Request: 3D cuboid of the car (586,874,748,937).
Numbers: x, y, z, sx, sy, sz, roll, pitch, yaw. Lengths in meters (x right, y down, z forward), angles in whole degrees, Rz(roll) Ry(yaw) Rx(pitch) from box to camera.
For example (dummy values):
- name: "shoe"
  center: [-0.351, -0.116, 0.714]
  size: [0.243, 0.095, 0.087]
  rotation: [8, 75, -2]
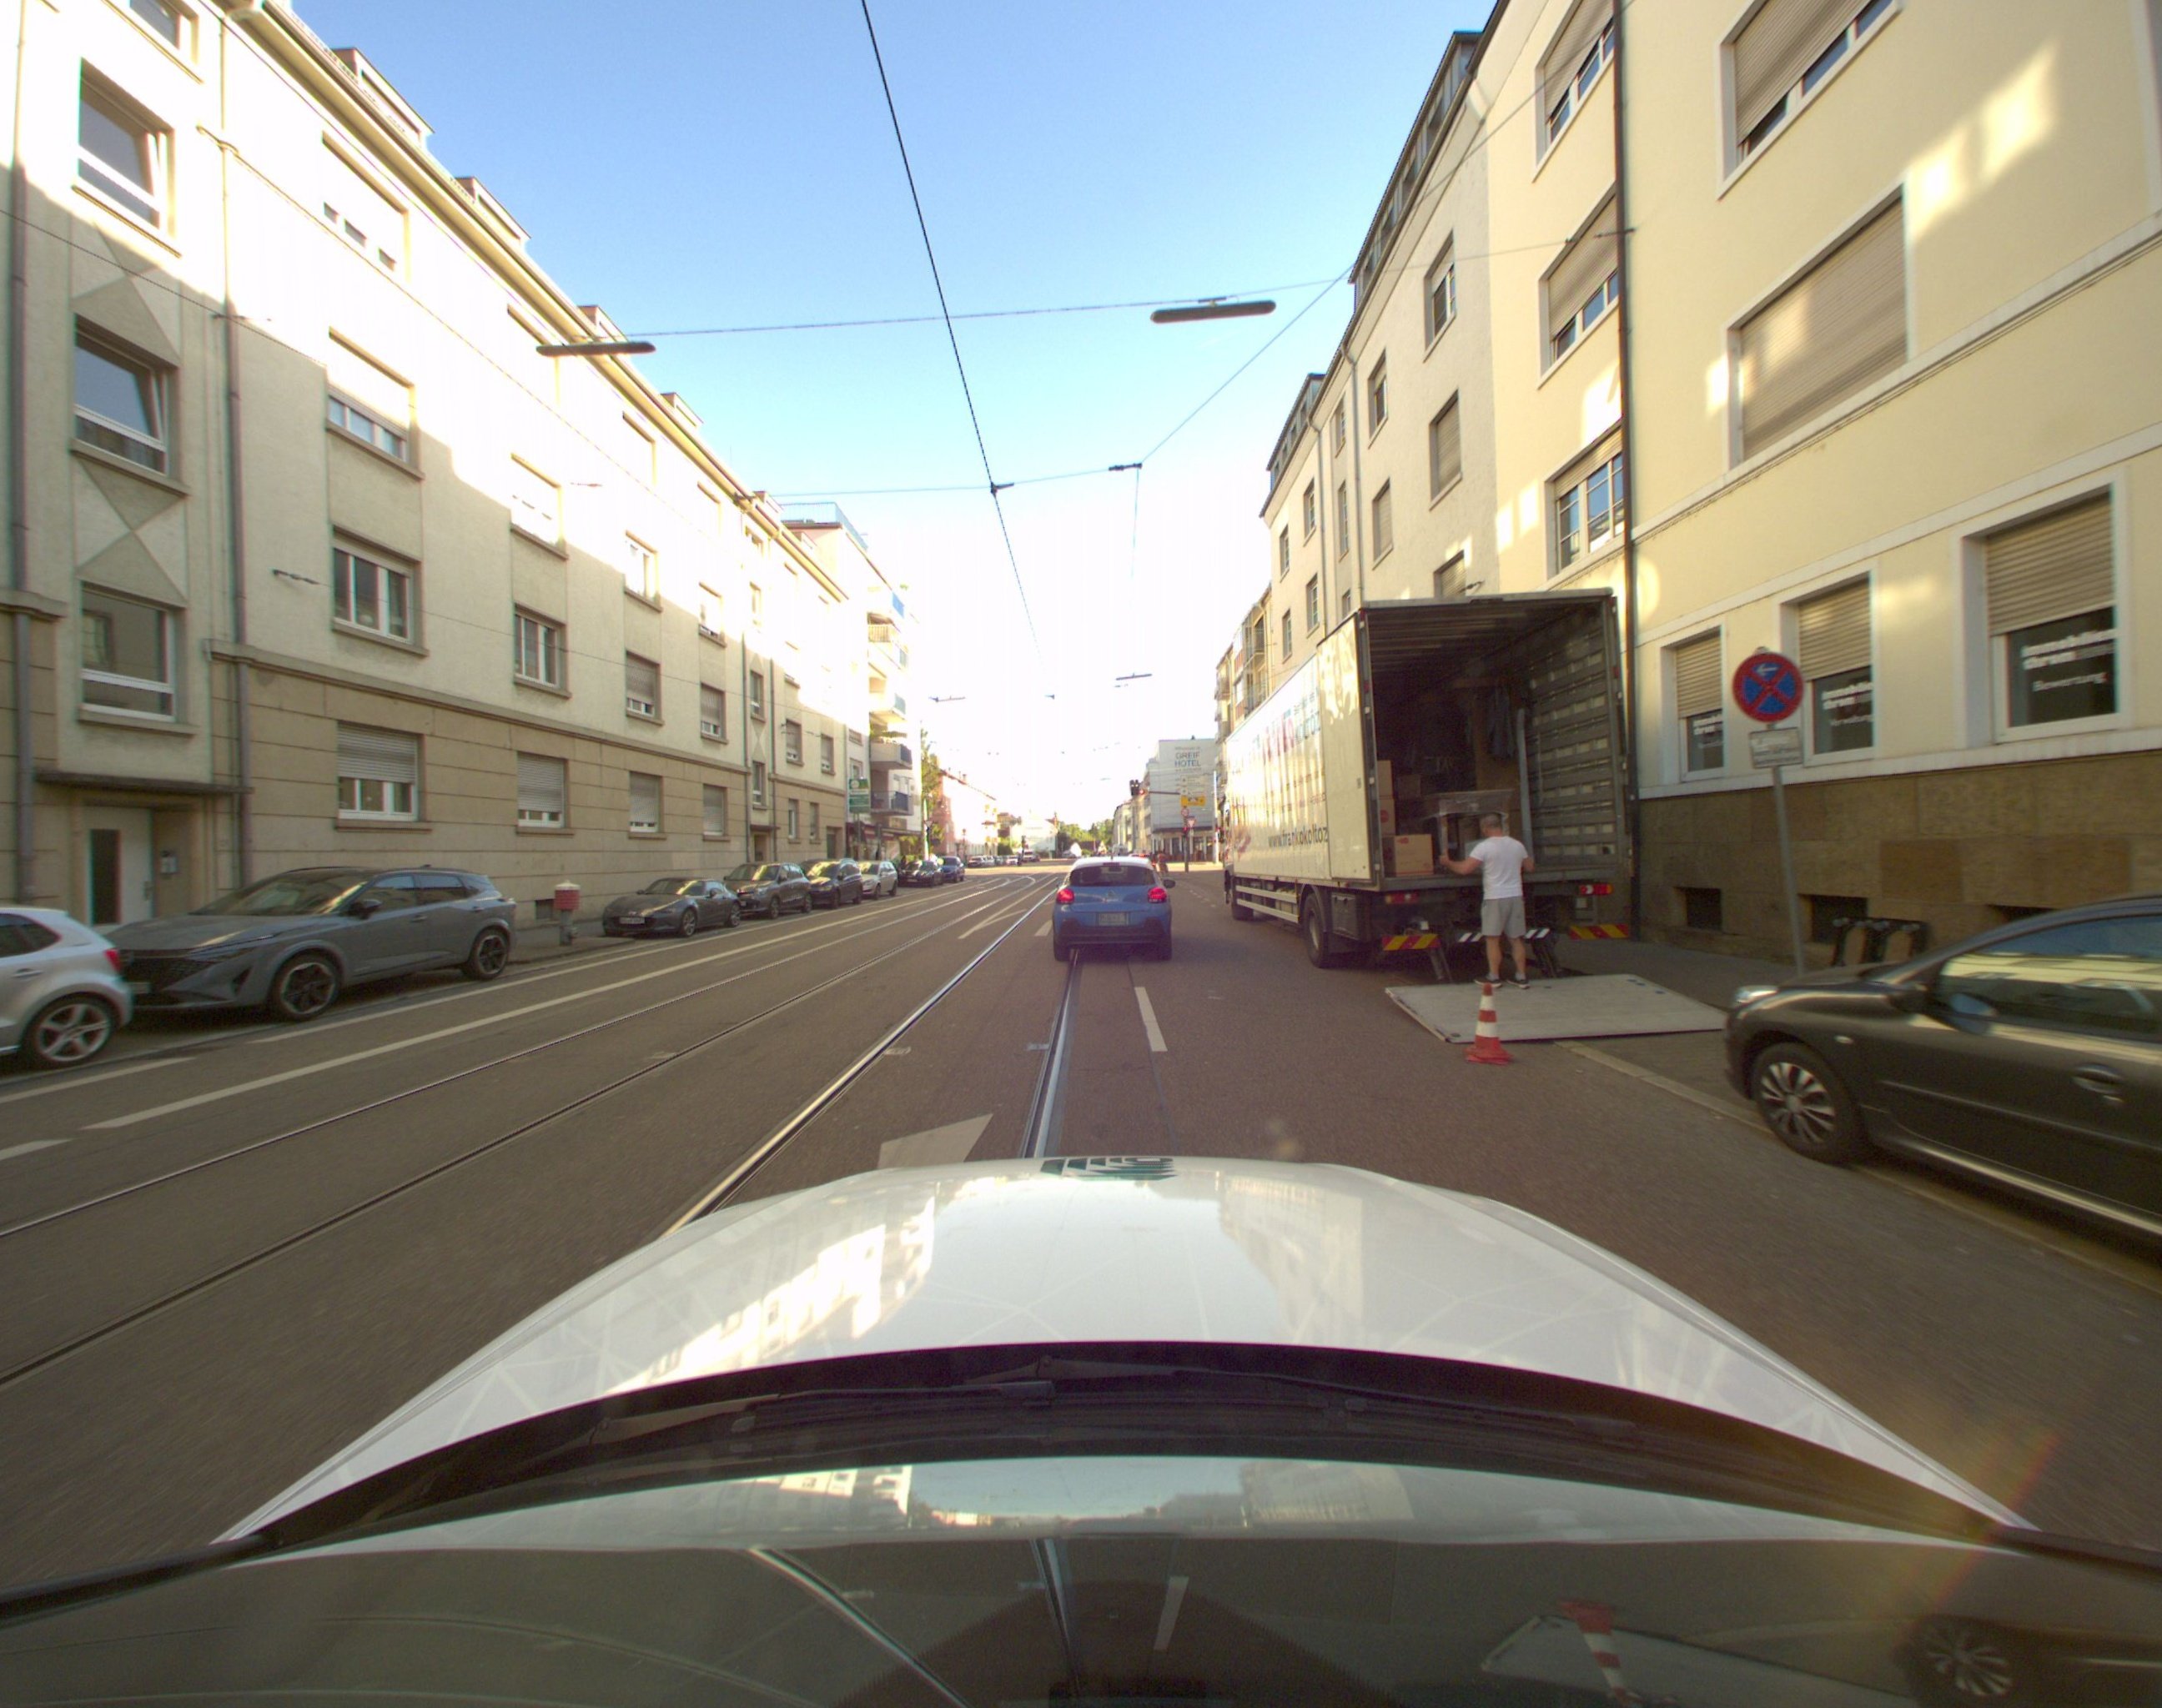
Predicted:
- name: "car"
  center: [-9.175, 1.097, 18.407]
  size: [1.694, 1.216, 3.785]
  rotation: [0, -1, 0]

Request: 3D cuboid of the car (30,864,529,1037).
- name: "car"
  center: [-9.256, 0.968, 10.087]
  size: [1.693, 1.568, 4.407]
  rotation: [-2, 0, 2]

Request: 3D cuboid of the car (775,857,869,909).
- name: "car"
  center: [-8.669, 0.943, 27.662]
  size: [1.693, 1.615, 4.245]
  rotation: [0, -1, 2]

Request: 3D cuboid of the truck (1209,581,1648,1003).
- name: "truck"
  center: [4.344, -0.616, 13.914]
  size: [2.848, 4.073, 11.786]
  rotation: [-2, 0, 3]

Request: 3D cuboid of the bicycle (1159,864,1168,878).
- name: "bicycle"
  center: [5.437, 1.109, 53.586]
  size: [0.497, 0.864, 1.750]
  rotation: [-1, 0, 2]

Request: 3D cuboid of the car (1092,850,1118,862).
- name: "car"
  center: [3.784, 0.308, 127.889]
  size: [3.971, 1.640, 1.816]
  rotation: [-1, 0, 2]

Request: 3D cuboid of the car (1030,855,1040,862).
- name: "car"
  center: [-10.130, 0.900, 179.120]
  size: [2.014, 1.525, 4.000]
  rotation: [-1, 0, 0]

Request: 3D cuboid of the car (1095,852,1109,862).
- name: "car"
  center: [3.222, 0.448, 124.247]
  size: [1.986, 1.508, 4.001]
  rotation: [-1, 0, 1]

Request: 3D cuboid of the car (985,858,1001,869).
- name: "car"
  center: [-13.035, 1.357, 120.538]
  size: [1.905, 1.497, 4.000]
  rotation: [-1, 0, 0]

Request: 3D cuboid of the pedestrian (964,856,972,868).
- name: "pedestrian"
  center: [-15.350, 1.081, 110.569]
  size: [0.839, 1.690, 0.739]
  rotation: [-1, 0, 7]

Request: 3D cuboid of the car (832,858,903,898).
- name: "car"
  center: [-8.690, 0.958, 33.468]
  size: [1.693, 1.509, 4.386]
  rotation: [0, -1, 1]

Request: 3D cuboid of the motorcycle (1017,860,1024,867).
- name: "motorcycle"
  center: [-7.535, 1.183, 101.417]
  size: [0.613, 0.864, 1.673]
  rotation: [-1, 0, 4]

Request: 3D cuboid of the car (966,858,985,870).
- name: "car"
  center: [-13.397, 1.261, 103.370]
  size: [1.905, 1.433, 3.998]
  rotation: [-1, 0, -1]

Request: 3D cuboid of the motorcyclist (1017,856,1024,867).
- name: "motorcyclist"
  center: [-7.542, 0.896, 101.264]
  size: [0.715, 1.378, 0.912]
  rotation: [-1, 0, 4]

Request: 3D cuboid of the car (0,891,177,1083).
- name: "car"
  center: [-9.384, 1.059, 5.613]
  size: [1.693, 1.416, 4.001]
  rotation: [2, -1, 2]

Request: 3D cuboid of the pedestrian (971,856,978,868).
- name: "pedestrian"
  center: [-14.468, 1.079, 110.618]
  size: [0.839, 1.690, 0.739]
  rotation: [-1, 0, 7]

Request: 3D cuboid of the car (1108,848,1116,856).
- name: "car"
  center: [6.229, -0.370, 164.940]
  size: [1.682, 1.618, 4.002]
  rotation: [0, 0, 2]

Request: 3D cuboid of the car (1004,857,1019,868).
- name: "car"
  center: [-10.388, 1.239, 121.987]
  size: [1.843, 1.574, 4.401]
  rotation: [-1, 0, 0]

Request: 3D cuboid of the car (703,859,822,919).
- name: "car"
  center: [-9.018, 0.942, 23.427]
  size: [1.693, 1.569, 4.001]
  rotation: [0, -1, 2]

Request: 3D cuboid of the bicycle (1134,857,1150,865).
- name: "bicycle"
  center: [7.514, 0.867, 100.165]
  size: [1.864, 0.957, 0.703]
  rotation: [-1, 0, 5]

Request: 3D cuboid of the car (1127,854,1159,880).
- name: "car"
  center: [3.551, 0.731, 46.770]
  size: [1.730, 1.420, 4.005]
  rotation: [-1, 0, 4]

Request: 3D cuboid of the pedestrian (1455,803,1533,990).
- name: "pedestrian"
  center: [4.031, 0.406, 7.968]
  size: [0.511, 1.775, 0.416]
  rotation: [-2, 0, 1]

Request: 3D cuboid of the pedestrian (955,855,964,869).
- name: "pedestrian"
  center: [-15.469, 1.001, 103.769]
  size: [0.839, 1.690, 0.739]
  rotation: [-1, 0, 7]

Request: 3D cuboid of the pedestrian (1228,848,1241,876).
- name: "pedestrian"
  center: [8.501, 0.452, 45.049]
  size: [0.539, 1.507, 0.611]
  rotation: [-3, 1, 2]

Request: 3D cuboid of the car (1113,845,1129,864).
- name: "car"
  center: [5.164, 0.065, 105.739]
  size: [1.986, 2.325, 4.001]
  rotation: [0, 0, 1]

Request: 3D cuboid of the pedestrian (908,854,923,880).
- name: "pedestrian"
  center: [-9.972, 0.786, 49.023]
  size: [0.694, 1.548, 0.722]
  rotation: [-1, 0, 4]

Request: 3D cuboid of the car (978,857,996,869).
- name: "car"
  center: [-13.104, 1.261, 113.737]
  size: [1.905, 1.497, 4.000]
  rotation: [-1, 0, 0]

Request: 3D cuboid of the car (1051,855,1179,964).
- name: "car"
  center: [0.419, 0.757, 13.060]
  size: [1.739, 1.462, 3.997]
  rotation: [0, 0, -2]

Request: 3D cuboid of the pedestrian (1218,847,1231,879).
- name: "pedestrian"
  center: [7.629, 0.475, 43.379]
  size: [0.539, 1.672, 0.624]
  rotation: [-3, 1, 2]

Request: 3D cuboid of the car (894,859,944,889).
- name: "car"
  center: [-8.607, 1.018, 43.605]
  size: [1.693, 1.509, 4.313]
  rotation: [0, -1, 2]

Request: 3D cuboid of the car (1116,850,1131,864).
- name: "car"
  center: [5.223, 0.384, 100.801]
  size: [1.726, 1.750, 3.214]
  rotation: [0, 0, 1]

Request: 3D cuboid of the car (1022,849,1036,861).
- name: "car"
  center: [-9.779, 0.164, 153.720]
  size: [2.199, 2.251, 4.677]
  rotation: [-1, 0, 0]

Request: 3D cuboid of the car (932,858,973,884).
- name: "car"
  center: [-7.772, 0.991, 49.698]
  size: [1.738, 1.509, 4.001]
  rotation: [0, -1, 2]

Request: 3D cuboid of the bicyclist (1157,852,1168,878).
- name: "bicyclist"
  center: [5.319, 0.713, 53.198]
  size: [0.723, 1.646, 0.791]
  rotation: [-1, 0, 4]

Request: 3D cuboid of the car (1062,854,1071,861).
- name: "car"
  center: [-3.656, 0.865, 203.646]
  size: [2.014, 1.525, 4.000]
  rotation: [-1, 0, 0]

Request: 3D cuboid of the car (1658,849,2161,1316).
- name: "car"
  center: [4.298, 0.741, 3.048]
  size: [1.576, 1.463, 3.882]
  rotation: [-2, 0, 2]

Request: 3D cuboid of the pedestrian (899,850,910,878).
- name: "pedestrian"
  center: [-12.926, 0.730, 59.710]
  size: [0.684, 2.013, 0.486]
  rotation: [-1, 0, -2]
